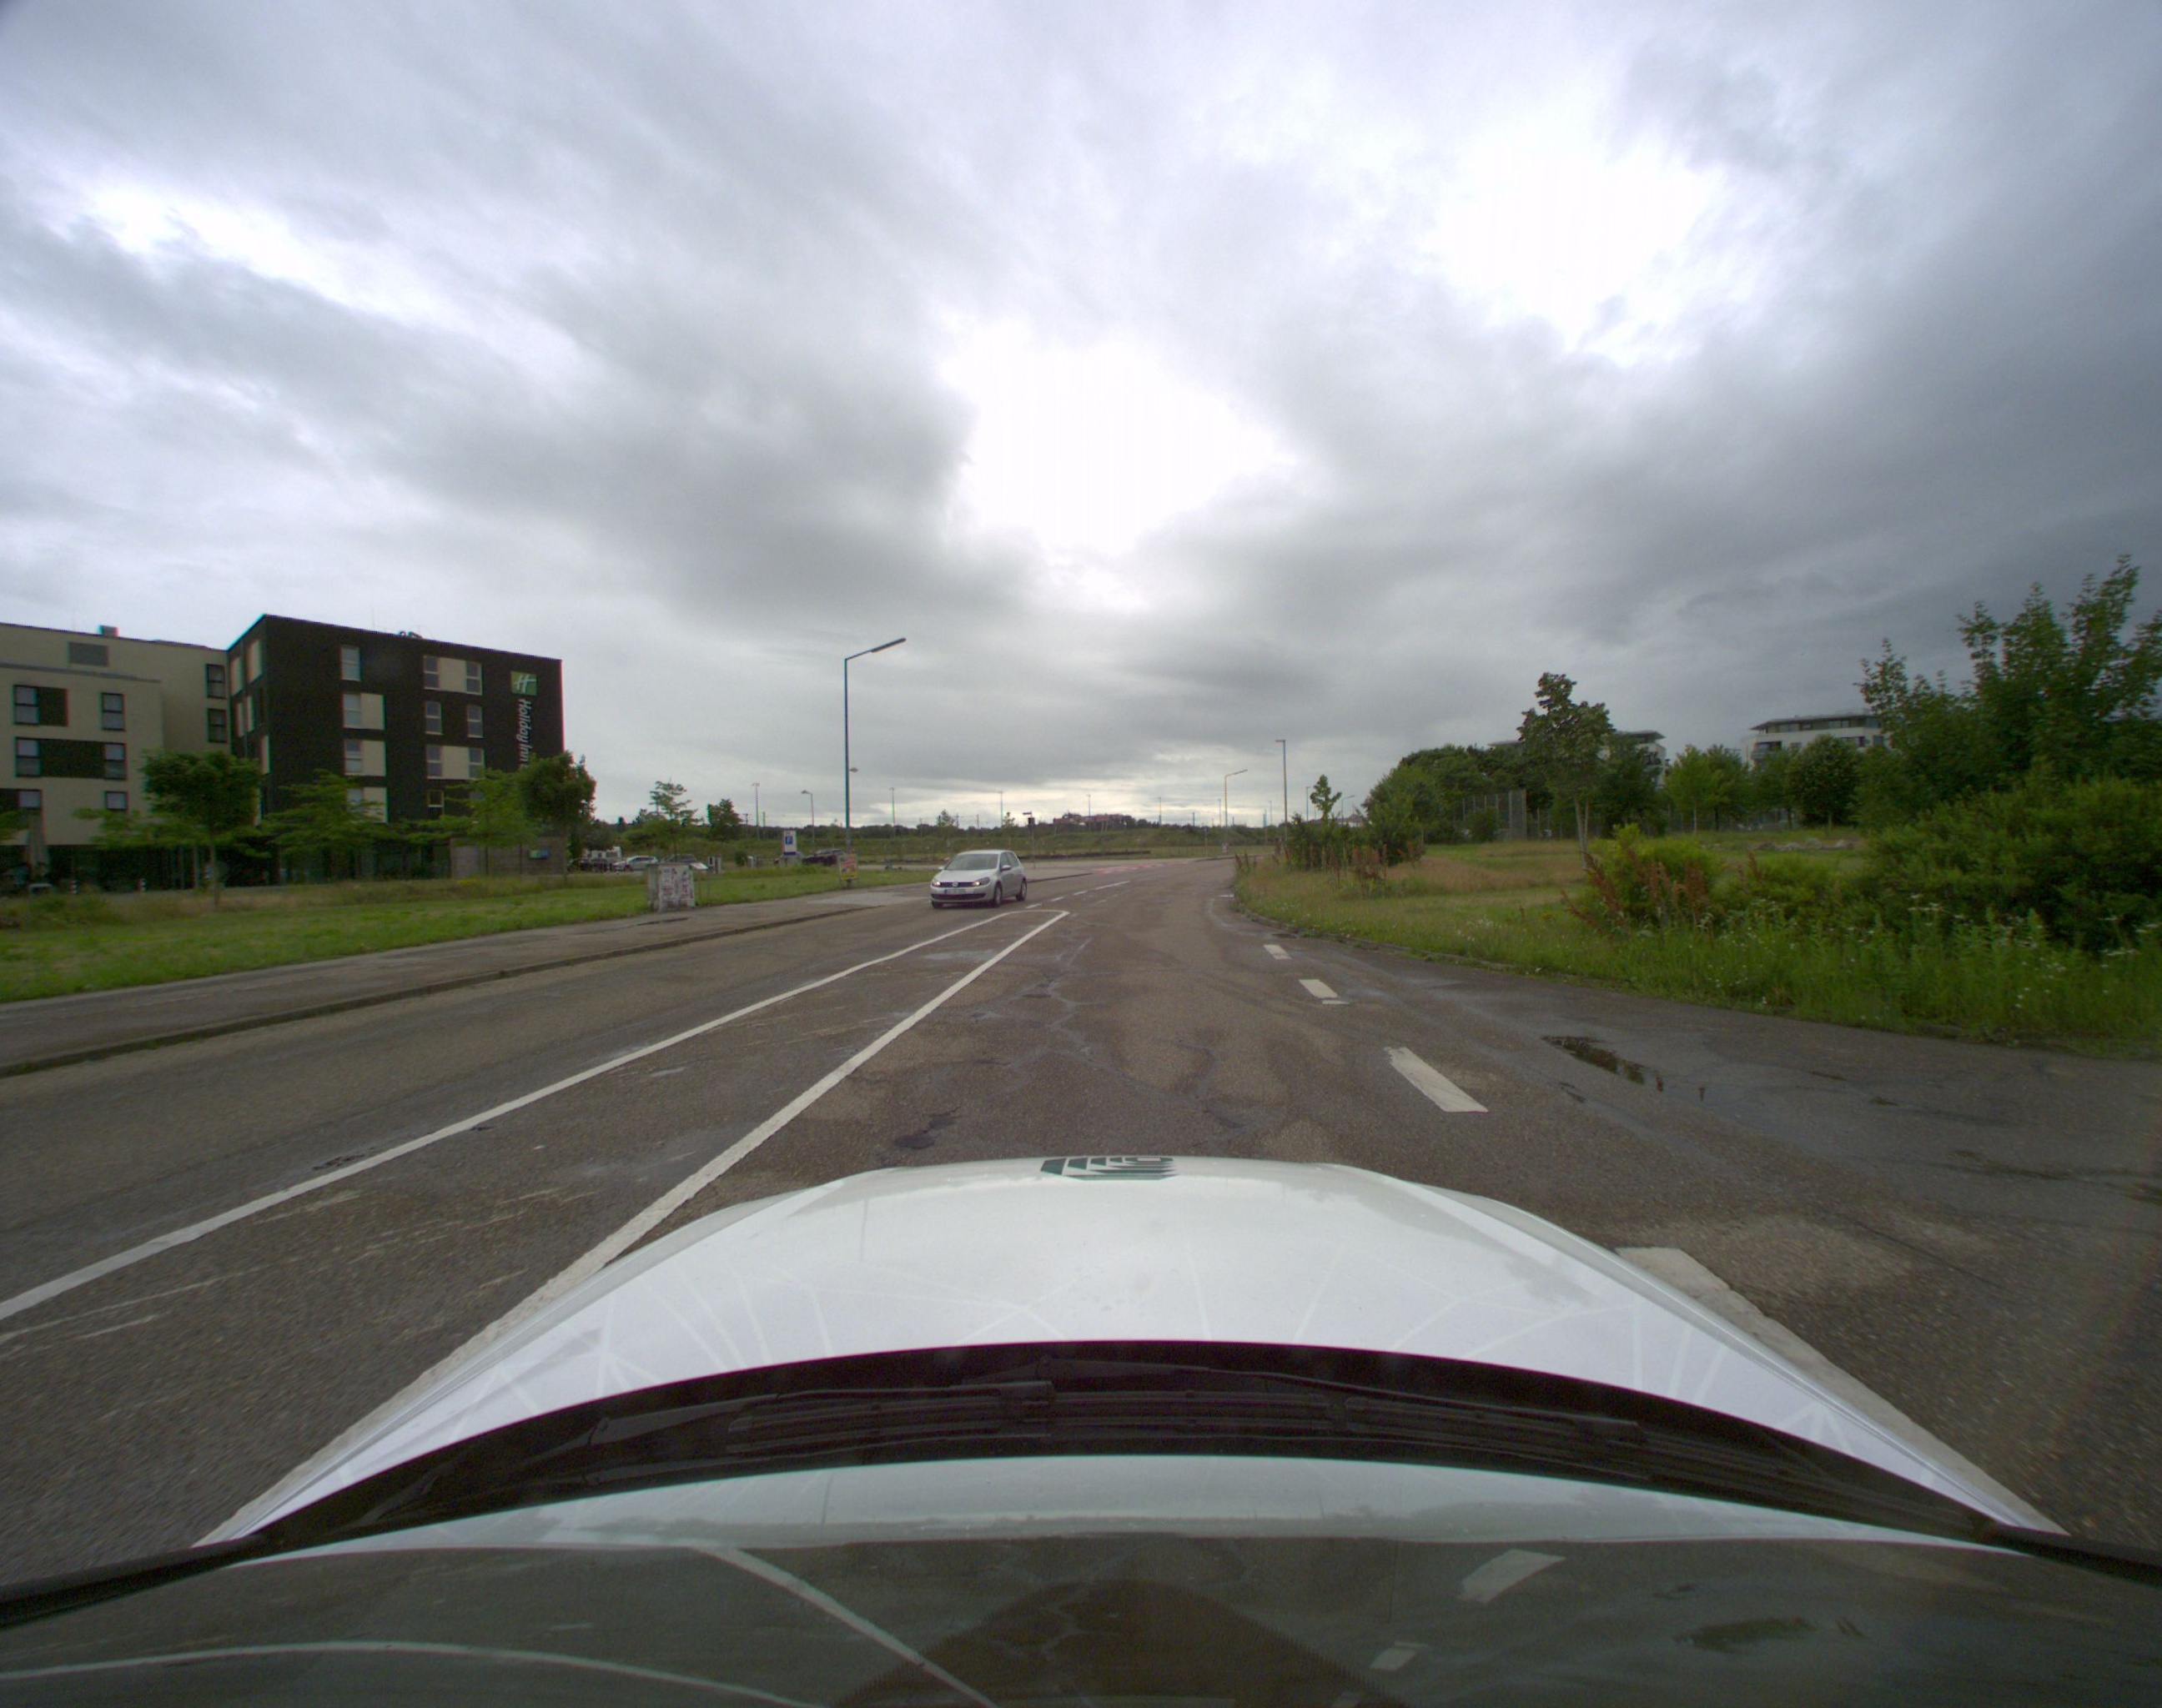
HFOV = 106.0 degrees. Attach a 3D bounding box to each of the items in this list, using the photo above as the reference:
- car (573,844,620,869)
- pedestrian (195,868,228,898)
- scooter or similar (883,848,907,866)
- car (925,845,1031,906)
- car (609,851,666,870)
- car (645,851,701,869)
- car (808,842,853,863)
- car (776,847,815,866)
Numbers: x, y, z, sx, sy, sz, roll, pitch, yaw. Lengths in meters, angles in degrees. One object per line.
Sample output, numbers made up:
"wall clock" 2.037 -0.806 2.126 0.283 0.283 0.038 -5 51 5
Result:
"car" -61.509 0.343 103.362 6.491 2.956 2.732 -1 2 37
"pedestrian" -47.698 1.568 44.687 0.943 1.570 0.880 -1 1 19
"scooter or similar" -12.829 0.208 56.174 1.453 1.168 0.573 -1 1 11
"car" -2.664 0.493 22.024 1.661 1.461 4.068 0 1 10
"car" -41.143 0.610 75.706 1.974 1.517 4.180 -1 2 29
"car" -35.519 0.509 71.016 1.676 1.442 4.026 -1 2 35
"car" -23.161 -0.157 75.289 3.948 1.822 2.013 -1 2 37
"car" -27.507 0.213 78.443 3.628 1.752 1.817 -1 2 38
